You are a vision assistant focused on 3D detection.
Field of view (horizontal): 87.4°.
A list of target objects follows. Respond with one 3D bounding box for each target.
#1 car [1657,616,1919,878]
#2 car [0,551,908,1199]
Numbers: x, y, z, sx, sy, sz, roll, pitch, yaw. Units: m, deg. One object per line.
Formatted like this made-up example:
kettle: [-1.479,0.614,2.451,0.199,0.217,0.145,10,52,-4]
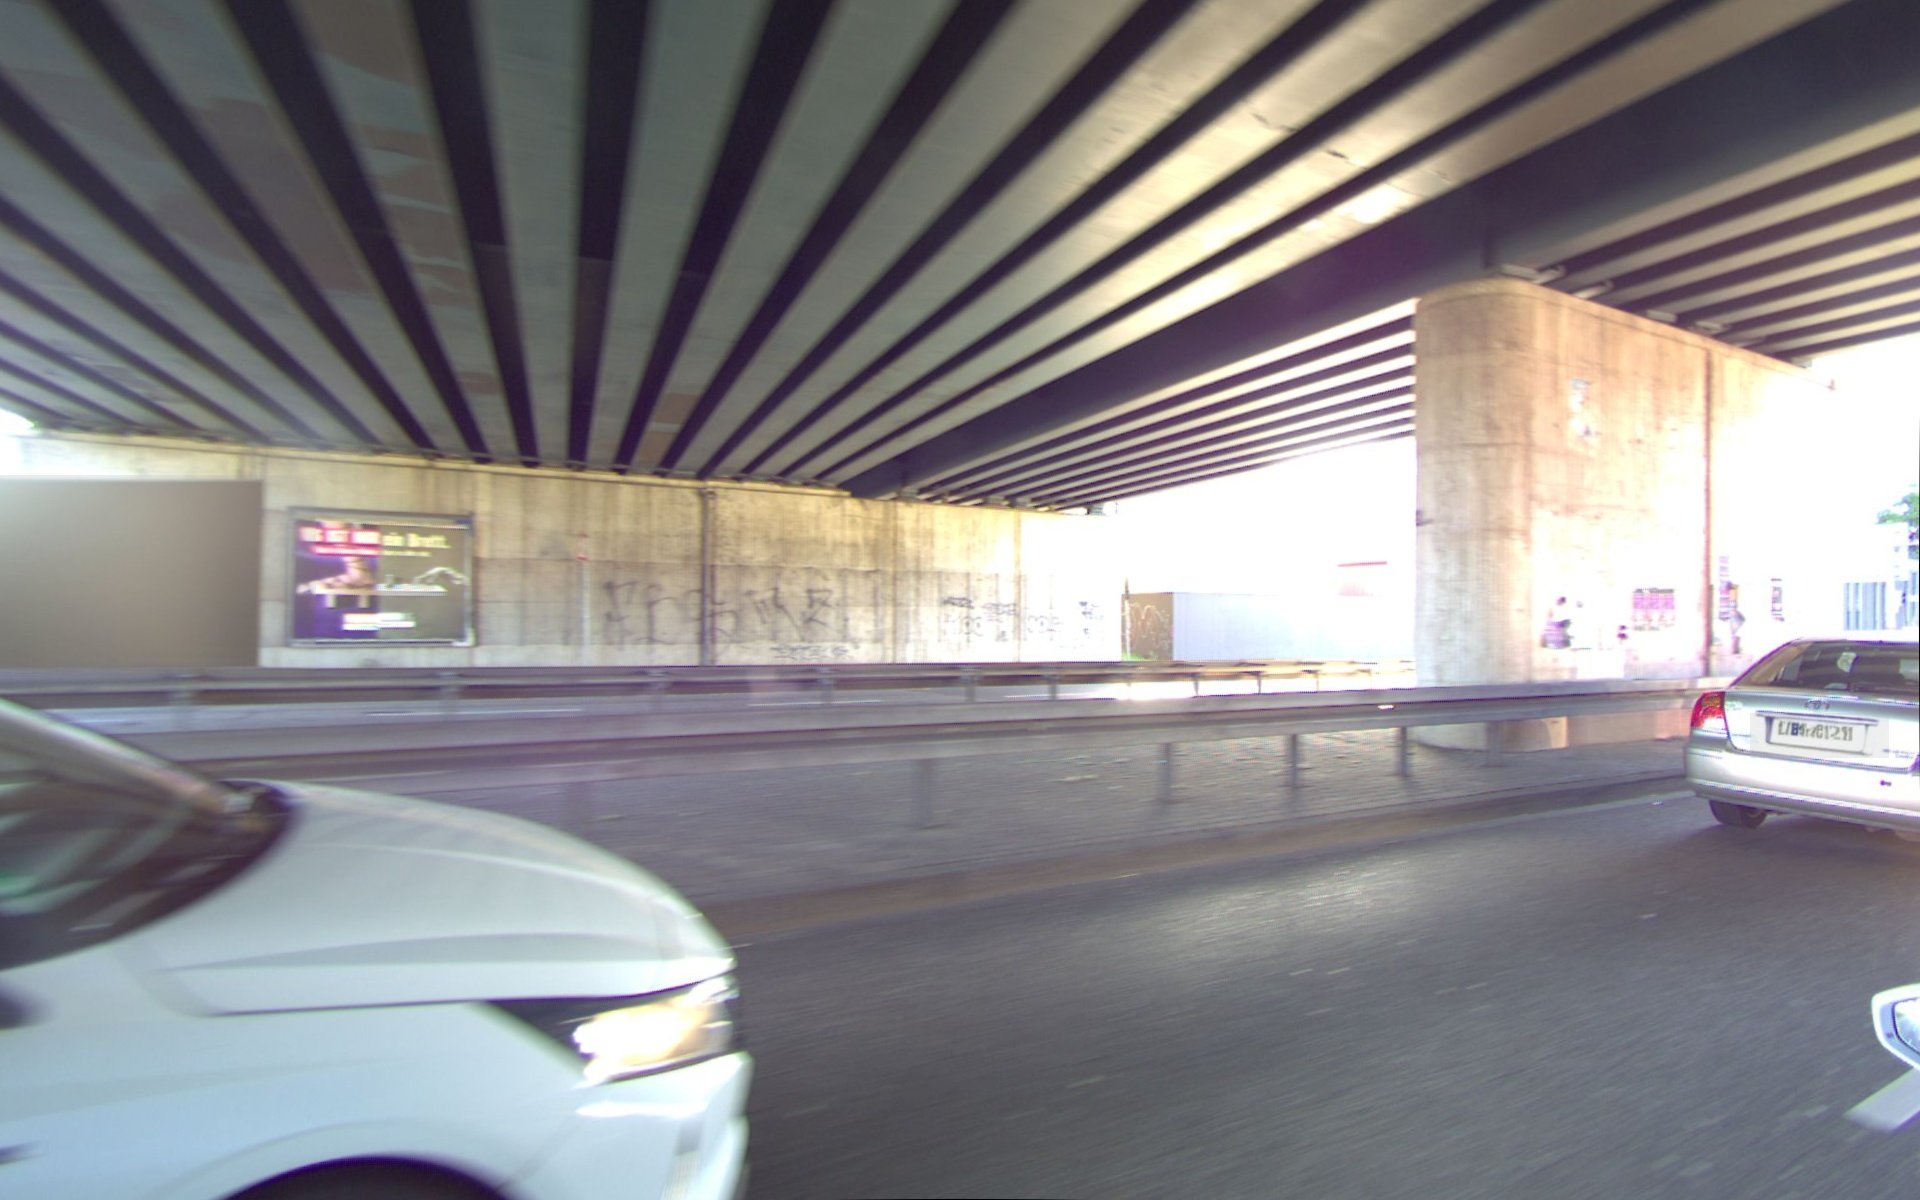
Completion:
car: [7.081,0.925,7.348,4.271,1.499,1.724,2,-1,-32]
car: [-2.231,0.666,1.513,3.945,1.499,1.724,2,-1,-31]
